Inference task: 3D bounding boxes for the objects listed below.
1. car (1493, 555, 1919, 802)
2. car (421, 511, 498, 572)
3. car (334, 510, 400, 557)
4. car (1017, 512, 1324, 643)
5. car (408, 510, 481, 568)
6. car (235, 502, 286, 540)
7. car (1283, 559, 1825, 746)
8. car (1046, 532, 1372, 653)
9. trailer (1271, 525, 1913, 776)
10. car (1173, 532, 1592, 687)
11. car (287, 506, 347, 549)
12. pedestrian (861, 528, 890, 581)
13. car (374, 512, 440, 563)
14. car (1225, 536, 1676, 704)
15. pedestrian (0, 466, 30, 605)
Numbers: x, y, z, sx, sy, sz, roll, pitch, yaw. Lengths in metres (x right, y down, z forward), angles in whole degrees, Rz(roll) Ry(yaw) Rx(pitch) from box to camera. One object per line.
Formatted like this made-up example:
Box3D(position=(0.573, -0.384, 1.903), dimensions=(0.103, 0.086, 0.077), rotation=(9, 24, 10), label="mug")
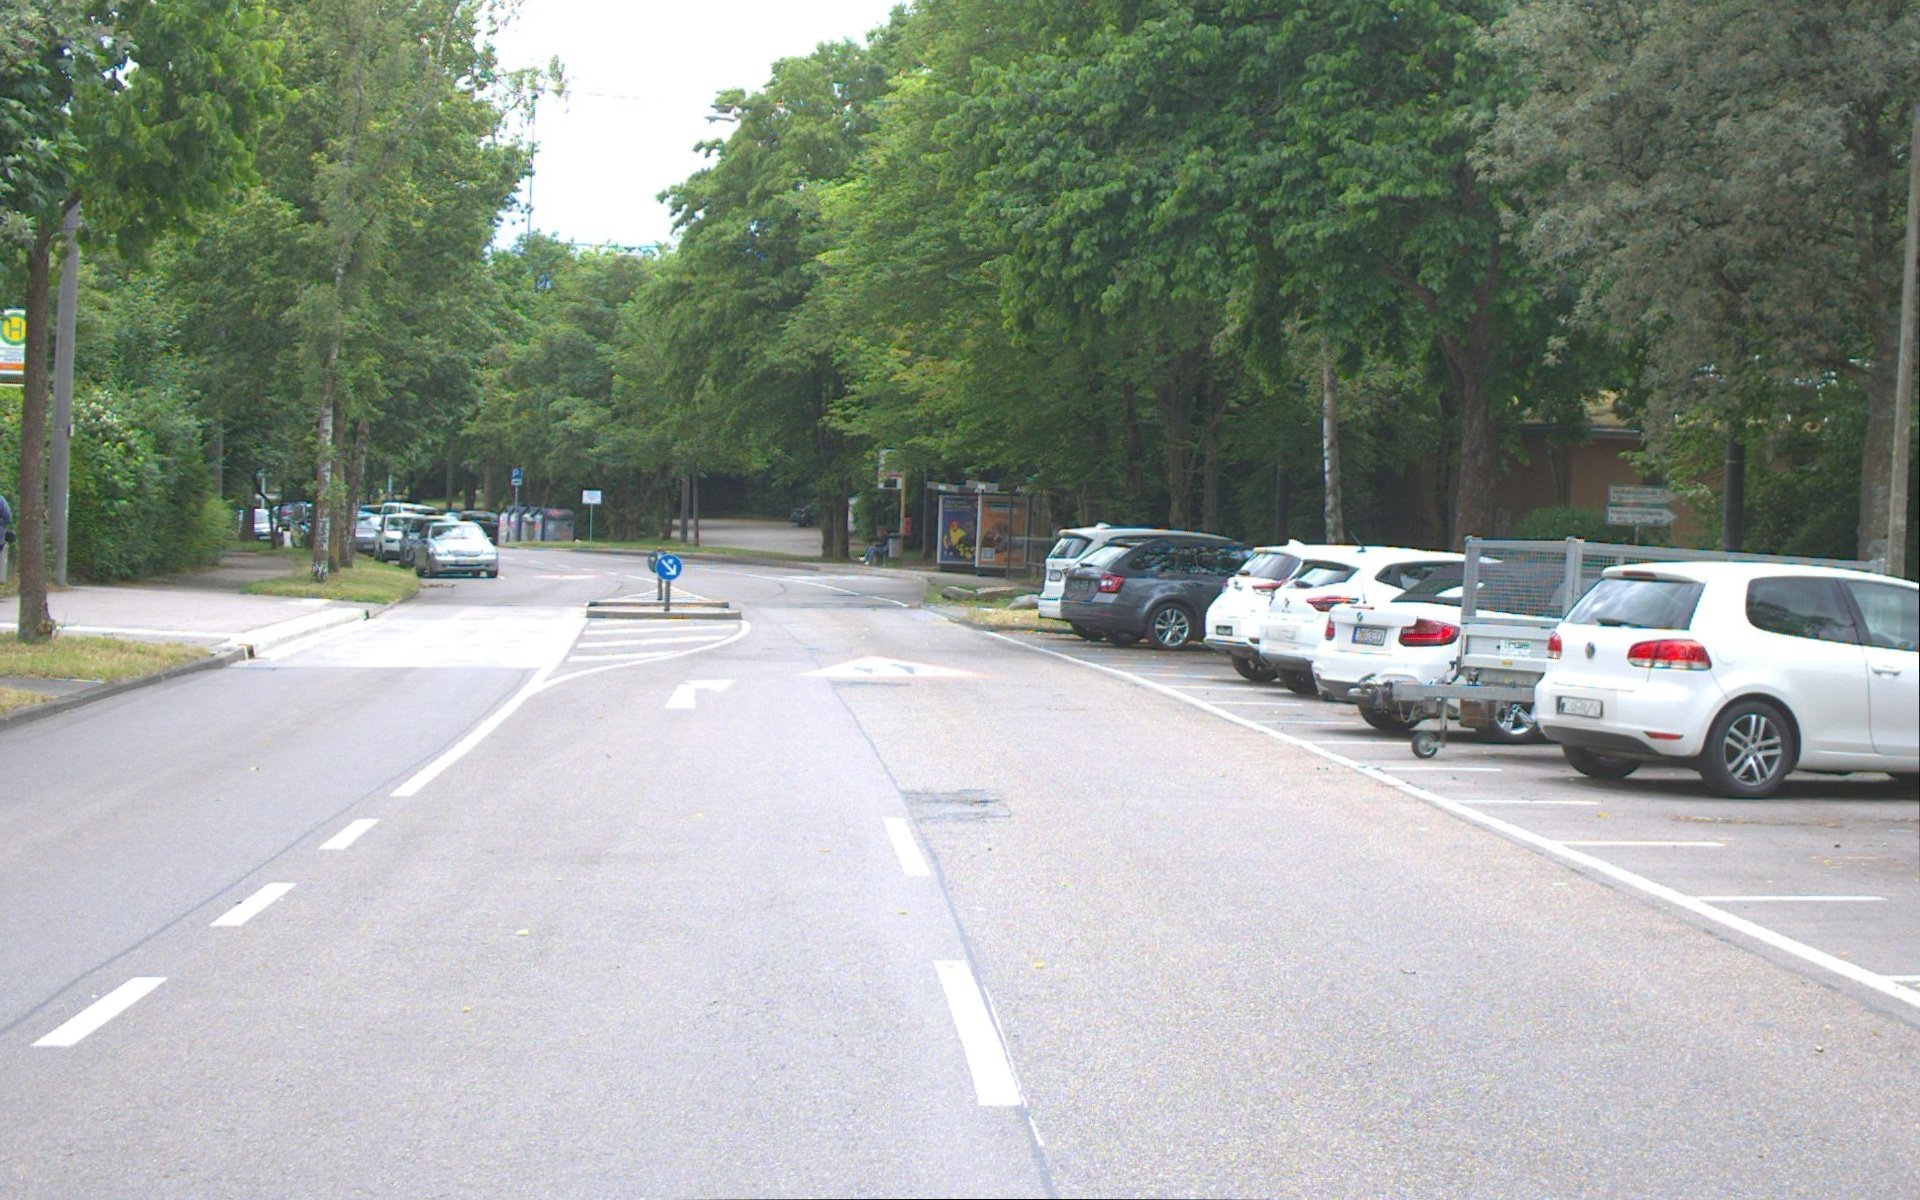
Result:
Box3D(position=(5.651, 0.519, 22.455), dimensions=(3.883, 1.444, 1.744), rotation=(2, 1, -22), label="car")
Box3D(position=(-12.711, -1.500, 87.451), dimensions=(1.866, 1.466, 4.001), rotation=(1, 1, -8), label="car")
Box3D(position=(-19.950, -2.250, 115.608), dimensions=(1.866, 1.466, 4.001), rotation=(1, 1, -14), label="car")
Box3D(position=(2.955, -0.316, 48.432), dimensions=(3.883, 1.662, 1.744), rotation=(2, 1, -20), label="car")
Box3D(position=(-13.924, -1.667, 93.009), dimensions=(1.866, 1.466, 4.001), rotation=(1, 1, -8), label="car")
Box3D(position=(-28.666, -3.242, 140.795), dimensions=(1.866, 1.466, 4.001), rotation=(1, 1, -14), label="car")
Box3D(position=(4.720, 0.421, 27.309), dimensions=(3.883, 1.305, 1.744), rotation=(2, 1, -25), label="car")
Box3D(position=(3.302, -0.101, 45.651), dimensions=(3.883, 1.424, 1.744), rotation=(2, 1, -20), label="car")
Box3D(position=(4.513, 0.357, 24.616), dimensions=(4.153, 1.568, 1.712), rotation=(3, 1, -20), label="trailer")
Box3D(position=(4.374, 0.093, 35.663), dimensions=(3.883, 1.424, 1.744), rotation=(2, 1, -20), label="car")
Box3D(position=(-23.433, -2.658, 125.249), dimensions=(1.866, 1.466, 4.001), rotation=(1, 1, -14), label="car")
Box3D(position=(-2.534, -1.364, 103.234), dimensions=(0.741, 1.564, 0.651), rotation=(2, 1, 10), label="pedestrian")
Box3D(position=(-16.841, -1.923, 104.795), dimensions=(1.866, 1.466, 4.001), rotation=(1, 1, -8), label="car")
Box3D(position=(4.711, 0.192, 33.093), dimensions=(3.883, 1.424, 1.744), rotation=(2, 1, -20), label="car")
Box3D(position=(-12.270, -0.824, 43.171), dimensions=(0.974, 1.724, 0.849), rotation=(2, 1, -5), label="pedestrian")
